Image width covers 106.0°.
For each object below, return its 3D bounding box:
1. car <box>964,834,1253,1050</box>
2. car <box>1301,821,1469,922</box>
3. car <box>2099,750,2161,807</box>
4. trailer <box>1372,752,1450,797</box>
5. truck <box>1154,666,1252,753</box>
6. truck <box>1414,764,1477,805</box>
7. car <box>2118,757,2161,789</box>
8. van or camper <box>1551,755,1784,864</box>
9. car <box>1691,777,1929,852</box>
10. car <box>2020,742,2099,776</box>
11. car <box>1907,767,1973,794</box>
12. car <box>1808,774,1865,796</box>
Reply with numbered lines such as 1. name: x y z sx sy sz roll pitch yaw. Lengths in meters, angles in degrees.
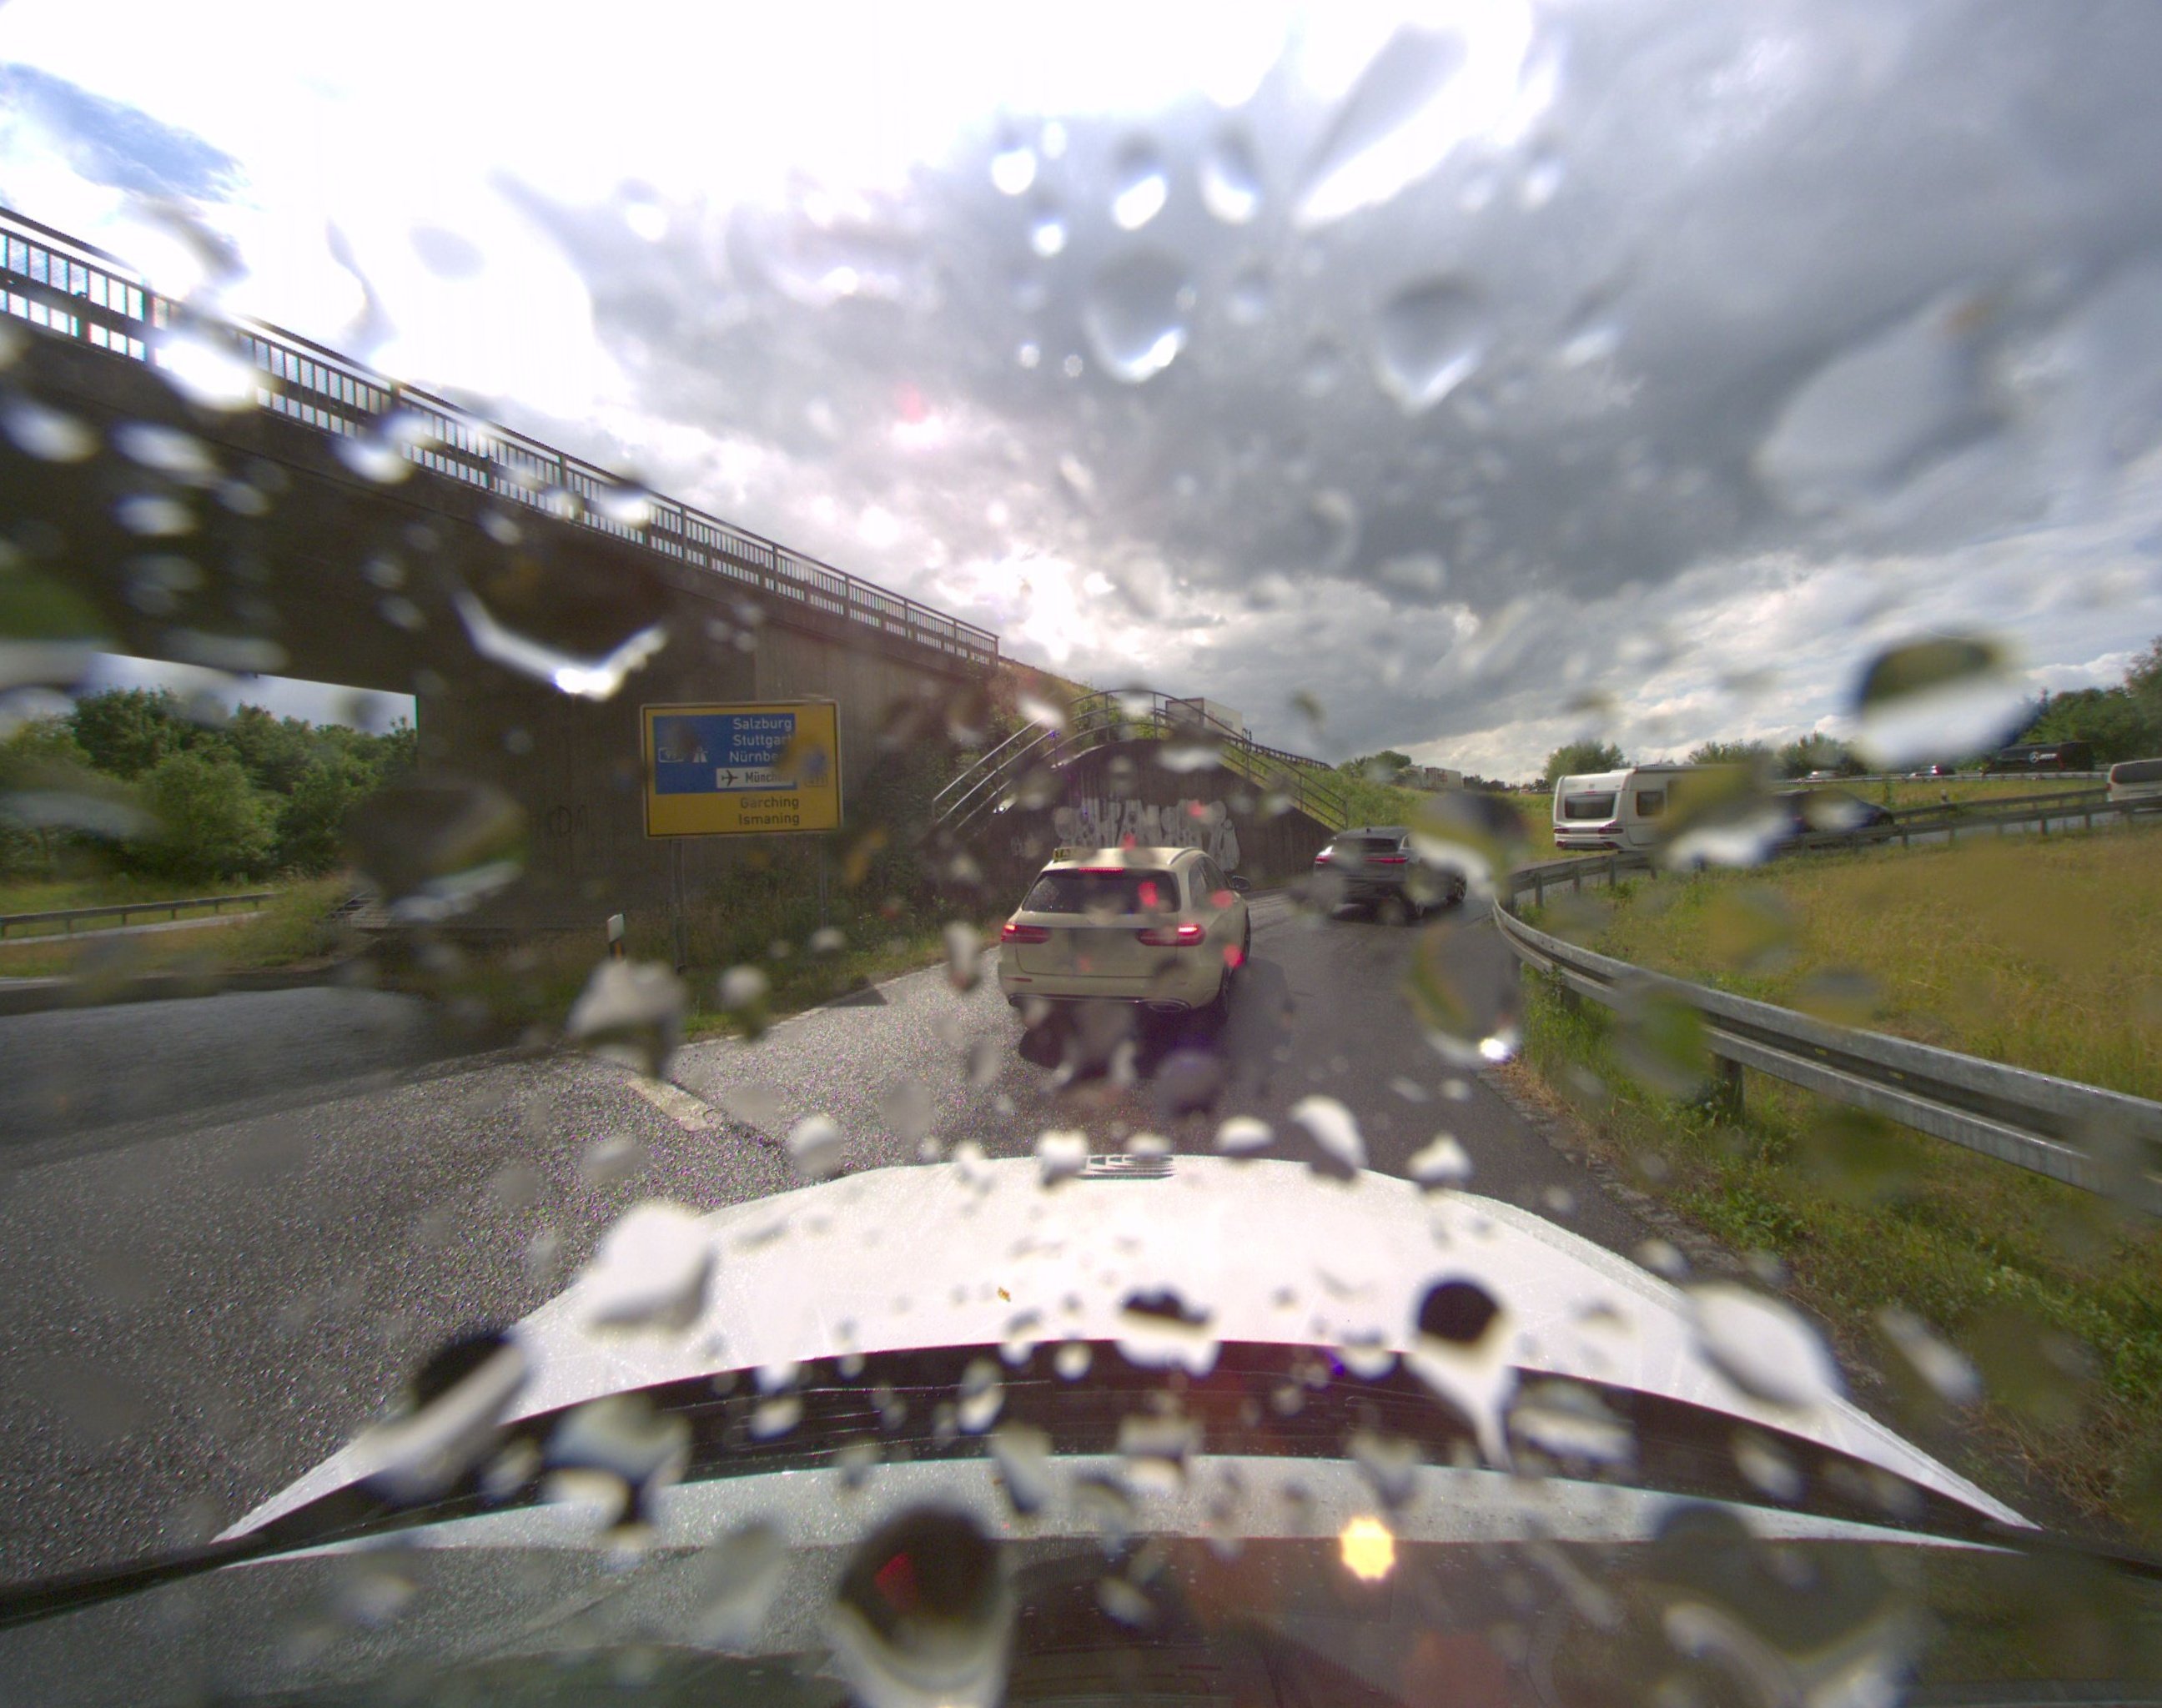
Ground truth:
1. car: 0.636 0.600 8.237 1.902 1.507 4.615 -2 1 14
2. car: 5.638 0.204 14.812 1.701 1.524 4.026 1 3 38
3. car: 38.873 -2.715 28.673 5.051 1.861 1.989 -3 1 -16
4. trailer: 42.205 -9.833 103.438 4.370 3.955 20.348 -1 0 36
5. truck: 8.086 -9.075 52.623 3.150 3.966 9.294 -1 0 29
6. truck: 53.681 -9.962 119.296 4.417 4.503 19.501 -1 0 36
7. car: 67.438 -5.096 50.359 1.646 1.784 5.084 -3 1 21
8. van or camper: 16.670 -1.299 23.169 6.001 2.729 2.423 -3 2 -20
9. car: 22.013 -1.221 24.691 5.744 1.925 2.428 -3 3 -11
10. car: 72.206 -6.996 60.186 1.977 2.013 4.020 -1 0 20
11. car: 75.288 -6.421 71.468 1.980 2.013 4.013 -3 1 11
12. car: 74.985 -6.837 80.924 1.987 2.013 4.001 -3 3 0
